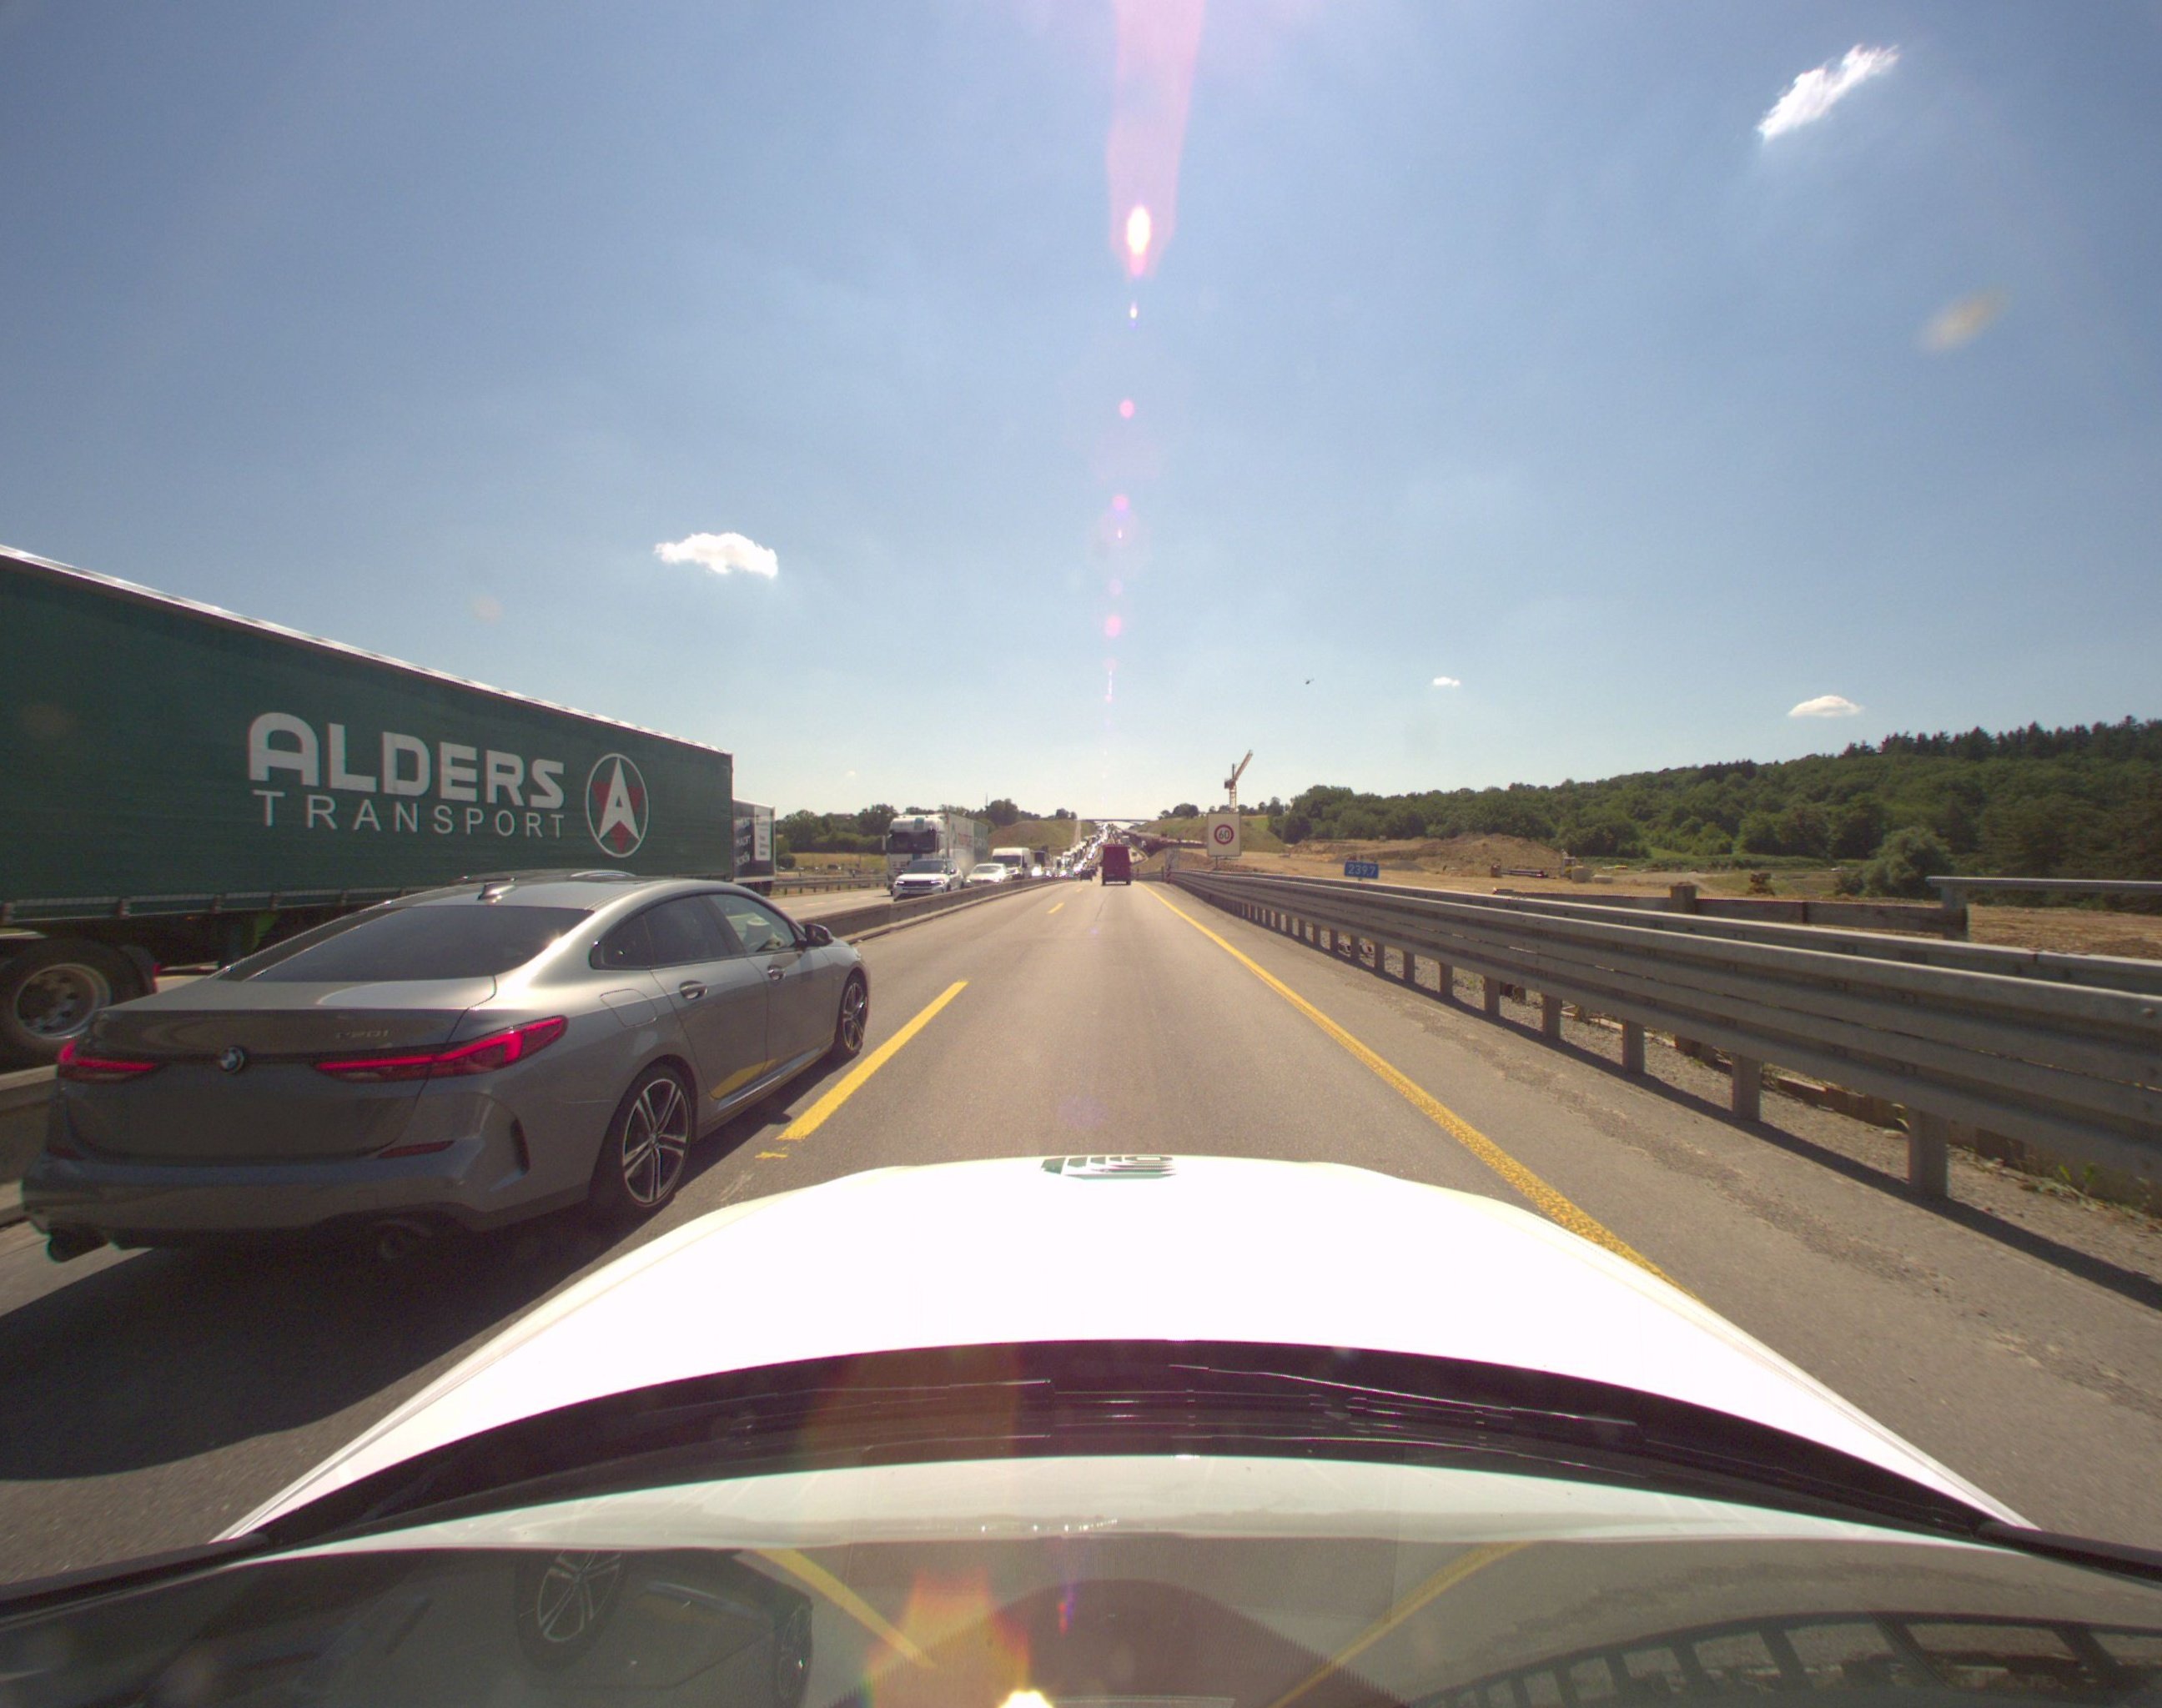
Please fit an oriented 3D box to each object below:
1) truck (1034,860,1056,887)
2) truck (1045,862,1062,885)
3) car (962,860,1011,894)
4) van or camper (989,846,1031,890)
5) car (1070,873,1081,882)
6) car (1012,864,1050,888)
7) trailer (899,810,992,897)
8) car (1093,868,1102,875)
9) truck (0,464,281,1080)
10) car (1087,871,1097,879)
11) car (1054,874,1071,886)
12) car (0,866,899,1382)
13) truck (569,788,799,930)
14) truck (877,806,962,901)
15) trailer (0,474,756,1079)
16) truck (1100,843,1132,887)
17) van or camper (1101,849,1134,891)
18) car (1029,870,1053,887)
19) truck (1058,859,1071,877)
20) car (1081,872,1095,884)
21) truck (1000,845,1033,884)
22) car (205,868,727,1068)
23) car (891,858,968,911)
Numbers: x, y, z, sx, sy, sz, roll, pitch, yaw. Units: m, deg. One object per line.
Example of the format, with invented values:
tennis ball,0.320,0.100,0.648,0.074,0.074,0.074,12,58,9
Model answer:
truck,-5.693,3.080,130.049,3.087,4.198,6.701,-1,-1,0
truck,-5.108,3.570,152.253,2.970,4.185,5.868,-1,-1,-2
car,-4.504,1.064,39.474,1.989,1.498,4.970,1,0,-3
van or camper,-4.281,0.825,50.002,2.213,2.511,6.527,1,0,-2
car,-1.101,4.587,161.572,1.987,1.631,4.758,1,0,0
car,-3.906,1.694,64.612,2.363,1.726,5.783,1,0,2
trailer,-7.731,0.144,48.750,2.804,4.431,13.173,-1,-1,2
car,3.909,4.093,195.113,2.004,1.545,4.135,1,0,2
truck,-9.545,-0.601,4.483,3.065,4.537,7.106,-1,-1,2
car,2.245,4.174,163.861,2.005,1.545,4.133,1,0,1
car,-2.386,3.341,105.346,1.911,1.423,5.091,1,-1,1
car,-2.634,0.838,4.774,1.844,1.452,4.745,-1,0,3
truck,-11.968,0.139,25.740,2.893,3.765,8.371,0,0,2
truck,-8.047,-0.013,41.277,2.795,4.392,6.228,-1,0,2
trailer,-9.263,-0.507,12.134,3.090,4.465,13.025,-2,0,2
truck,3.934,1.258,93.783,3.013,4.693,6.927,-2,-1,-2
van or camper,2.461,1.069,56.112,2.023,2.744,4.514,0,-1,0
car,-3.738,2.325,77.168,1.875,1.432,5.126,1,0,1
truck,-3.557,3.093,177.827,2.516,3.856,8.671,0,-1,1
car,1.039,3.461,117.163,2.005,1.545,4.131,-1,-1,0
truck,-7.160,1.256,92.247,2.793,4.153,10.078,1,-1,1
car,-5.776,0.917,8.620,1.858,1.459,4.609,1,0,2
car,-5.126,0.980,28.016,1.750,1.646,4.156,1,0,1
